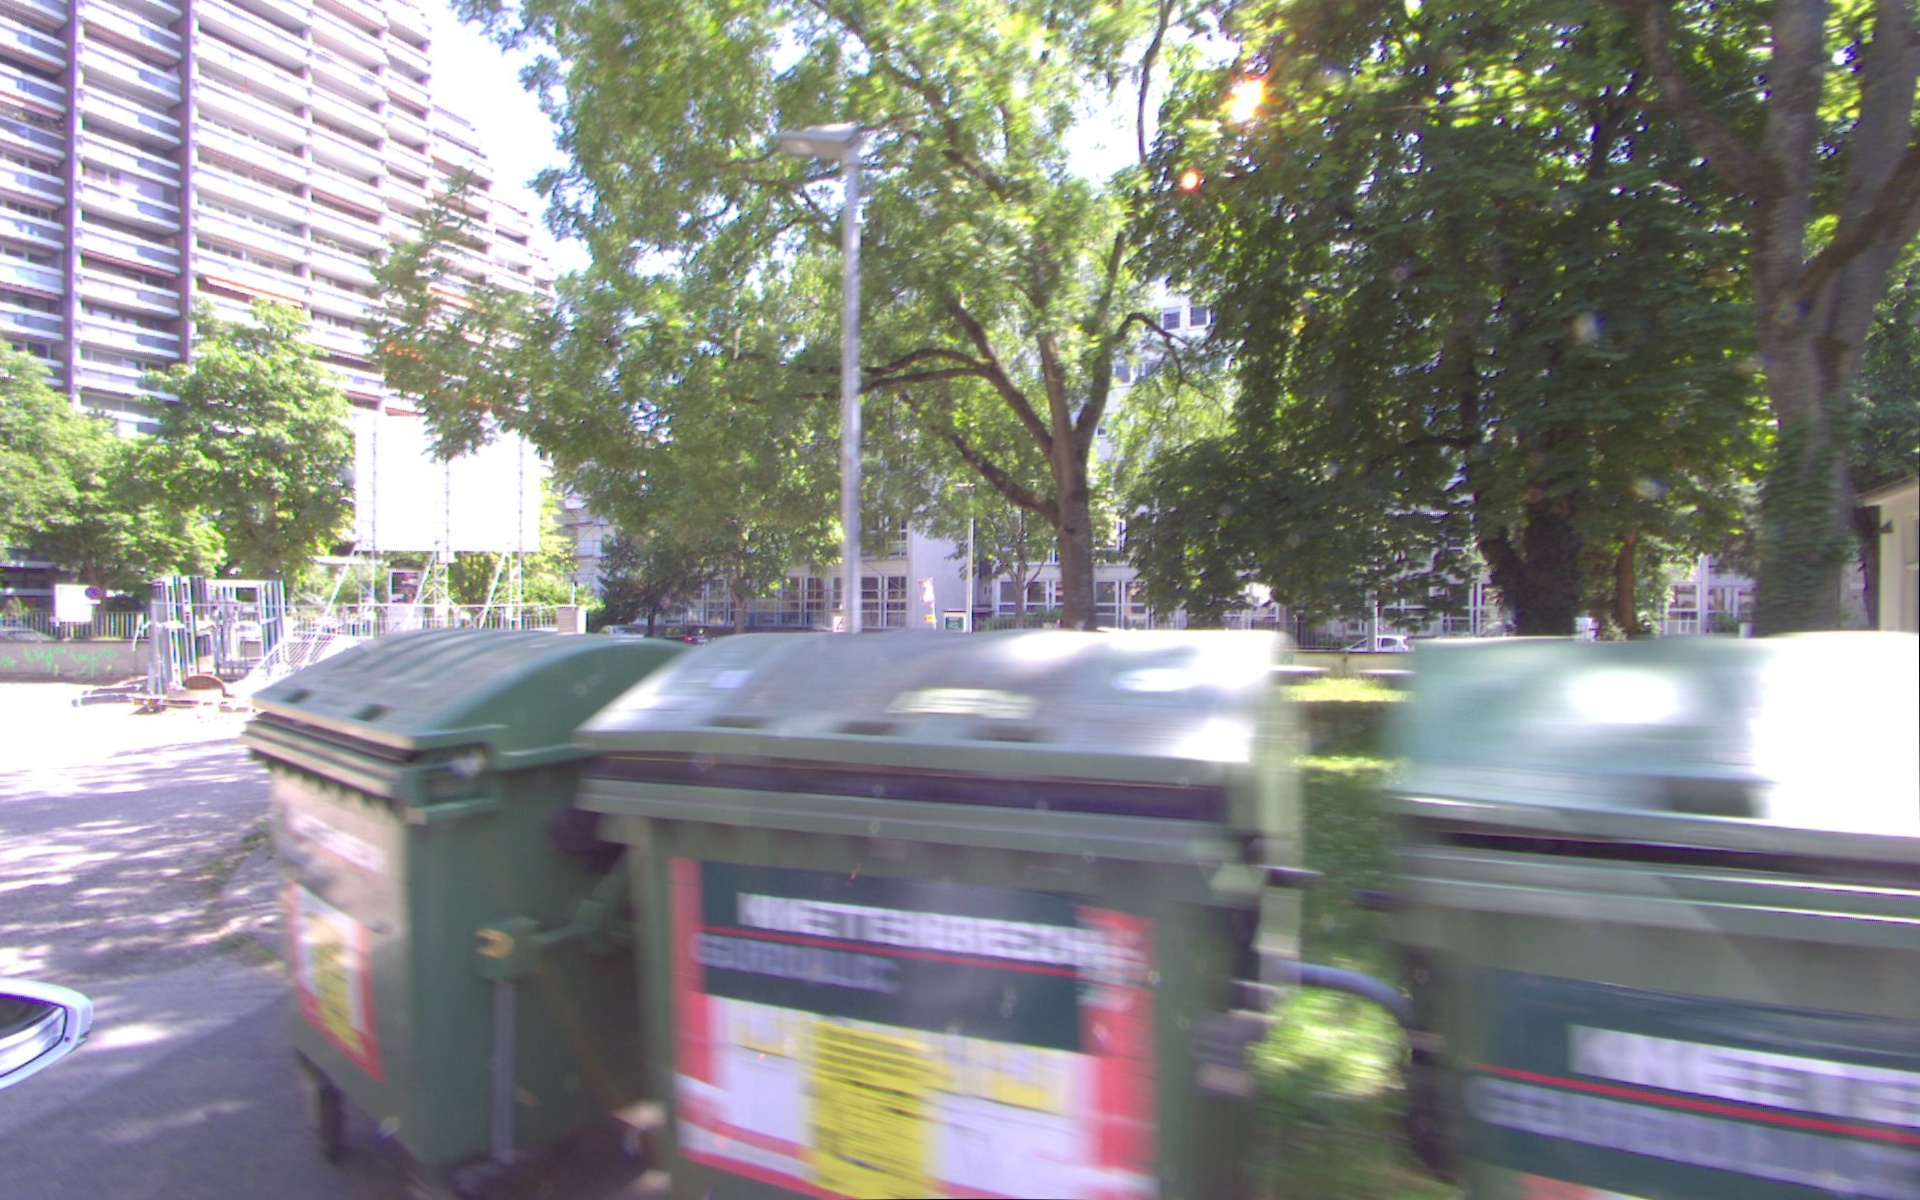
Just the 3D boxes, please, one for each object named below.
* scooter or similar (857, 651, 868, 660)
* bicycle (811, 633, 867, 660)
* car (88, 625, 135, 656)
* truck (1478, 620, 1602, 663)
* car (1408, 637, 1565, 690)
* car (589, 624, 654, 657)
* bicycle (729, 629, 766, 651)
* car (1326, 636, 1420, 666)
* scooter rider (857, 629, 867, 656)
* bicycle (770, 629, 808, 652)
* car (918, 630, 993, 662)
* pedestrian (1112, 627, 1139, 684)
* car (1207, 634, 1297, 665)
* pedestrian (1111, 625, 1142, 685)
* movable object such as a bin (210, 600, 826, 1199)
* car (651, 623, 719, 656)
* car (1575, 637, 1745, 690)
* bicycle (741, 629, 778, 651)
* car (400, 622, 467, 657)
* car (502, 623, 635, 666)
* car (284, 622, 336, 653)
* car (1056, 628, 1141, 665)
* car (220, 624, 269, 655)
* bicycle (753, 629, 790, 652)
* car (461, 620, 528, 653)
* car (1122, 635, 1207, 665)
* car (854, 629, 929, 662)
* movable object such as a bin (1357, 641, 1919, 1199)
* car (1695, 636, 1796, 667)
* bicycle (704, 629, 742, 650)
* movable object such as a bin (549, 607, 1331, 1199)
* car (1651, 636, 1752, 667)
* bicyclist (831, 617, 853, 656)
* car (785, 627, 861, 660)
[{"bbox_3d":[-4.185,2.380,42.856,0.438,0.363,0.365,0,-2,-2],"label":"scooter or similar"},{"bbox_3d":[-5.257,2.031,43.665,2.393,1.167,0.786,0,-1,-3],"label":"bicycle"},{"bbox_3d":[-39.669,1.859,46.831,1.620,1.405,3.647,1,-2,-40],"label":"car"},{"bbox_3d":[26.168,1.869,45.283,4.597,1.856,1.641,-2,-2,44],"label":"truck"},{"bbox_3d":[15.885,1.902,30.334,3.860,1.483,1.706,0,-1,2],"label":"car"},{"bbox_3d":[-15.952,1.891,47.093,1.621,1.482,3.645,1,-2,-41],"label":"car"},{"bbox_3d":[-11.730,2.195,55.315,0.770,1.172,2.378,0,-1,25],"label":"bicycle"},{"bbox_3d":[19.117,2.350,46.409,3.703,1.307,1.599,-1,-2,42],"label":"car"},{"bbox_3d":[-4.186,1.809,42.854,0.409,1.148,0.359,0,-1,-3],"label":"scooter rider"},{"bbox_3d":[-9.210,2.153,54.069,0.770,1.203,2.425,0,-1,25],"label":"bicycle"},{"bbox_3d":[-0.231,2.122,46.894,1.595,1.455,3.573,1,-2,-40],"label":"car"},{"bbox_3d":[4.714,1.589,28.554,0.718,1.609,0.741,0,-3,4],"label":"pedestrian"},{"bbox_3d":[13.266,2.224,45.679,1.594,1.322,3.714,1,-2,-39],"label":"car"},{"bbox_3d":[4.533,1.492,27.302,0.718,1.609,0.741,0,-3,2],"label":"pedestrian"},{"bbox_3d":[-1.261,0.777,2.875,1.318,1.488,1.173,-1,-2,41],"label":"movable object such as a bin"},{"bbox_3d":[-12.943,1.815,47.034,1.621,1.482,3.645,1,-2,-41],"label":"car"},{"bbox_3d":[20.905,1.881,30.001,3.860,1.483,1.706,0,-1,2],"label":"car"},{"bbox_3d":[-10.994,2.181,54.976,0.770,1.172,2.378,0,-1,25],"label":"bicycle"},{"bbox_3d":[-23.469,1.721,44.584,3.640,1.482,1.624,-1,-2,44],"label":"car"},{"bbox_3d":[-14.005,1.588,35.935,4.063,1.483,1.766,0,-1,2],"label":"car"},{"bbox_3d":[-30.603,1.747,47.118,1.620,1.405,3.647,1,-2,-40],"label":"car"},{"bbox_3d":[6.368,2.118,46.404,3.706,1.641,1.598,-1,-2,44],"label":"car"},{"bbox_3d":[-33.925,1.859,47.458,1.620,1.405,3.647,1,-2,-40],"label":"car"},{"bbox_3d":[-10.256,2.192,54.527,0.770,1.172,2.378,0,-1,25],"label":"bicycle"},{"bbox_3d":[-21.487,1.665,46.155,3.640,1.482,1.624,-1,-2,44],"label":"car"},{"bbox_3d":[9.435,2.265,46.327,1.595,1.297,3.713,1,-2,-40],"label":"car"},{"bbox_3d":[-3.227,2.093,46.767,1.596,1.463,3.643,1,-2,-43],"label":"car"},{"bbox_3d":[1.330,0.808,1.491,1.290,1.488,1.179,-1,-2,26],"label":"movable object such as a bin"},{"bbox_3d":[35.612,2.324,45.455,1.477,1.307,3.323,1,-2,-31],"label":"car"},{"bbox_3d":[-13.215,2.207,56.006,0.770,1.172,2.378,0,-1,25],"label":"bicycle"},{"bbox_3d":[0.063,0.784,2.134,1.290,1.488,1.180,-1,-2,24],"label":"movable object such as a bin"},{"bbox_3d":[32.911,2.266,44.516,1.479,1.307,3.318,1,-2,-35],"label":"car"},{"bbox_3d":[-5.135,1.597,43.672,0.883,1.687,0.859,0,-1,-3],"label":"bicyclist"},{"bbox_3d":[-6.460,2.037,47.069,3.639,1.482,1.630,-1,-2,44],"label":"car"}]
